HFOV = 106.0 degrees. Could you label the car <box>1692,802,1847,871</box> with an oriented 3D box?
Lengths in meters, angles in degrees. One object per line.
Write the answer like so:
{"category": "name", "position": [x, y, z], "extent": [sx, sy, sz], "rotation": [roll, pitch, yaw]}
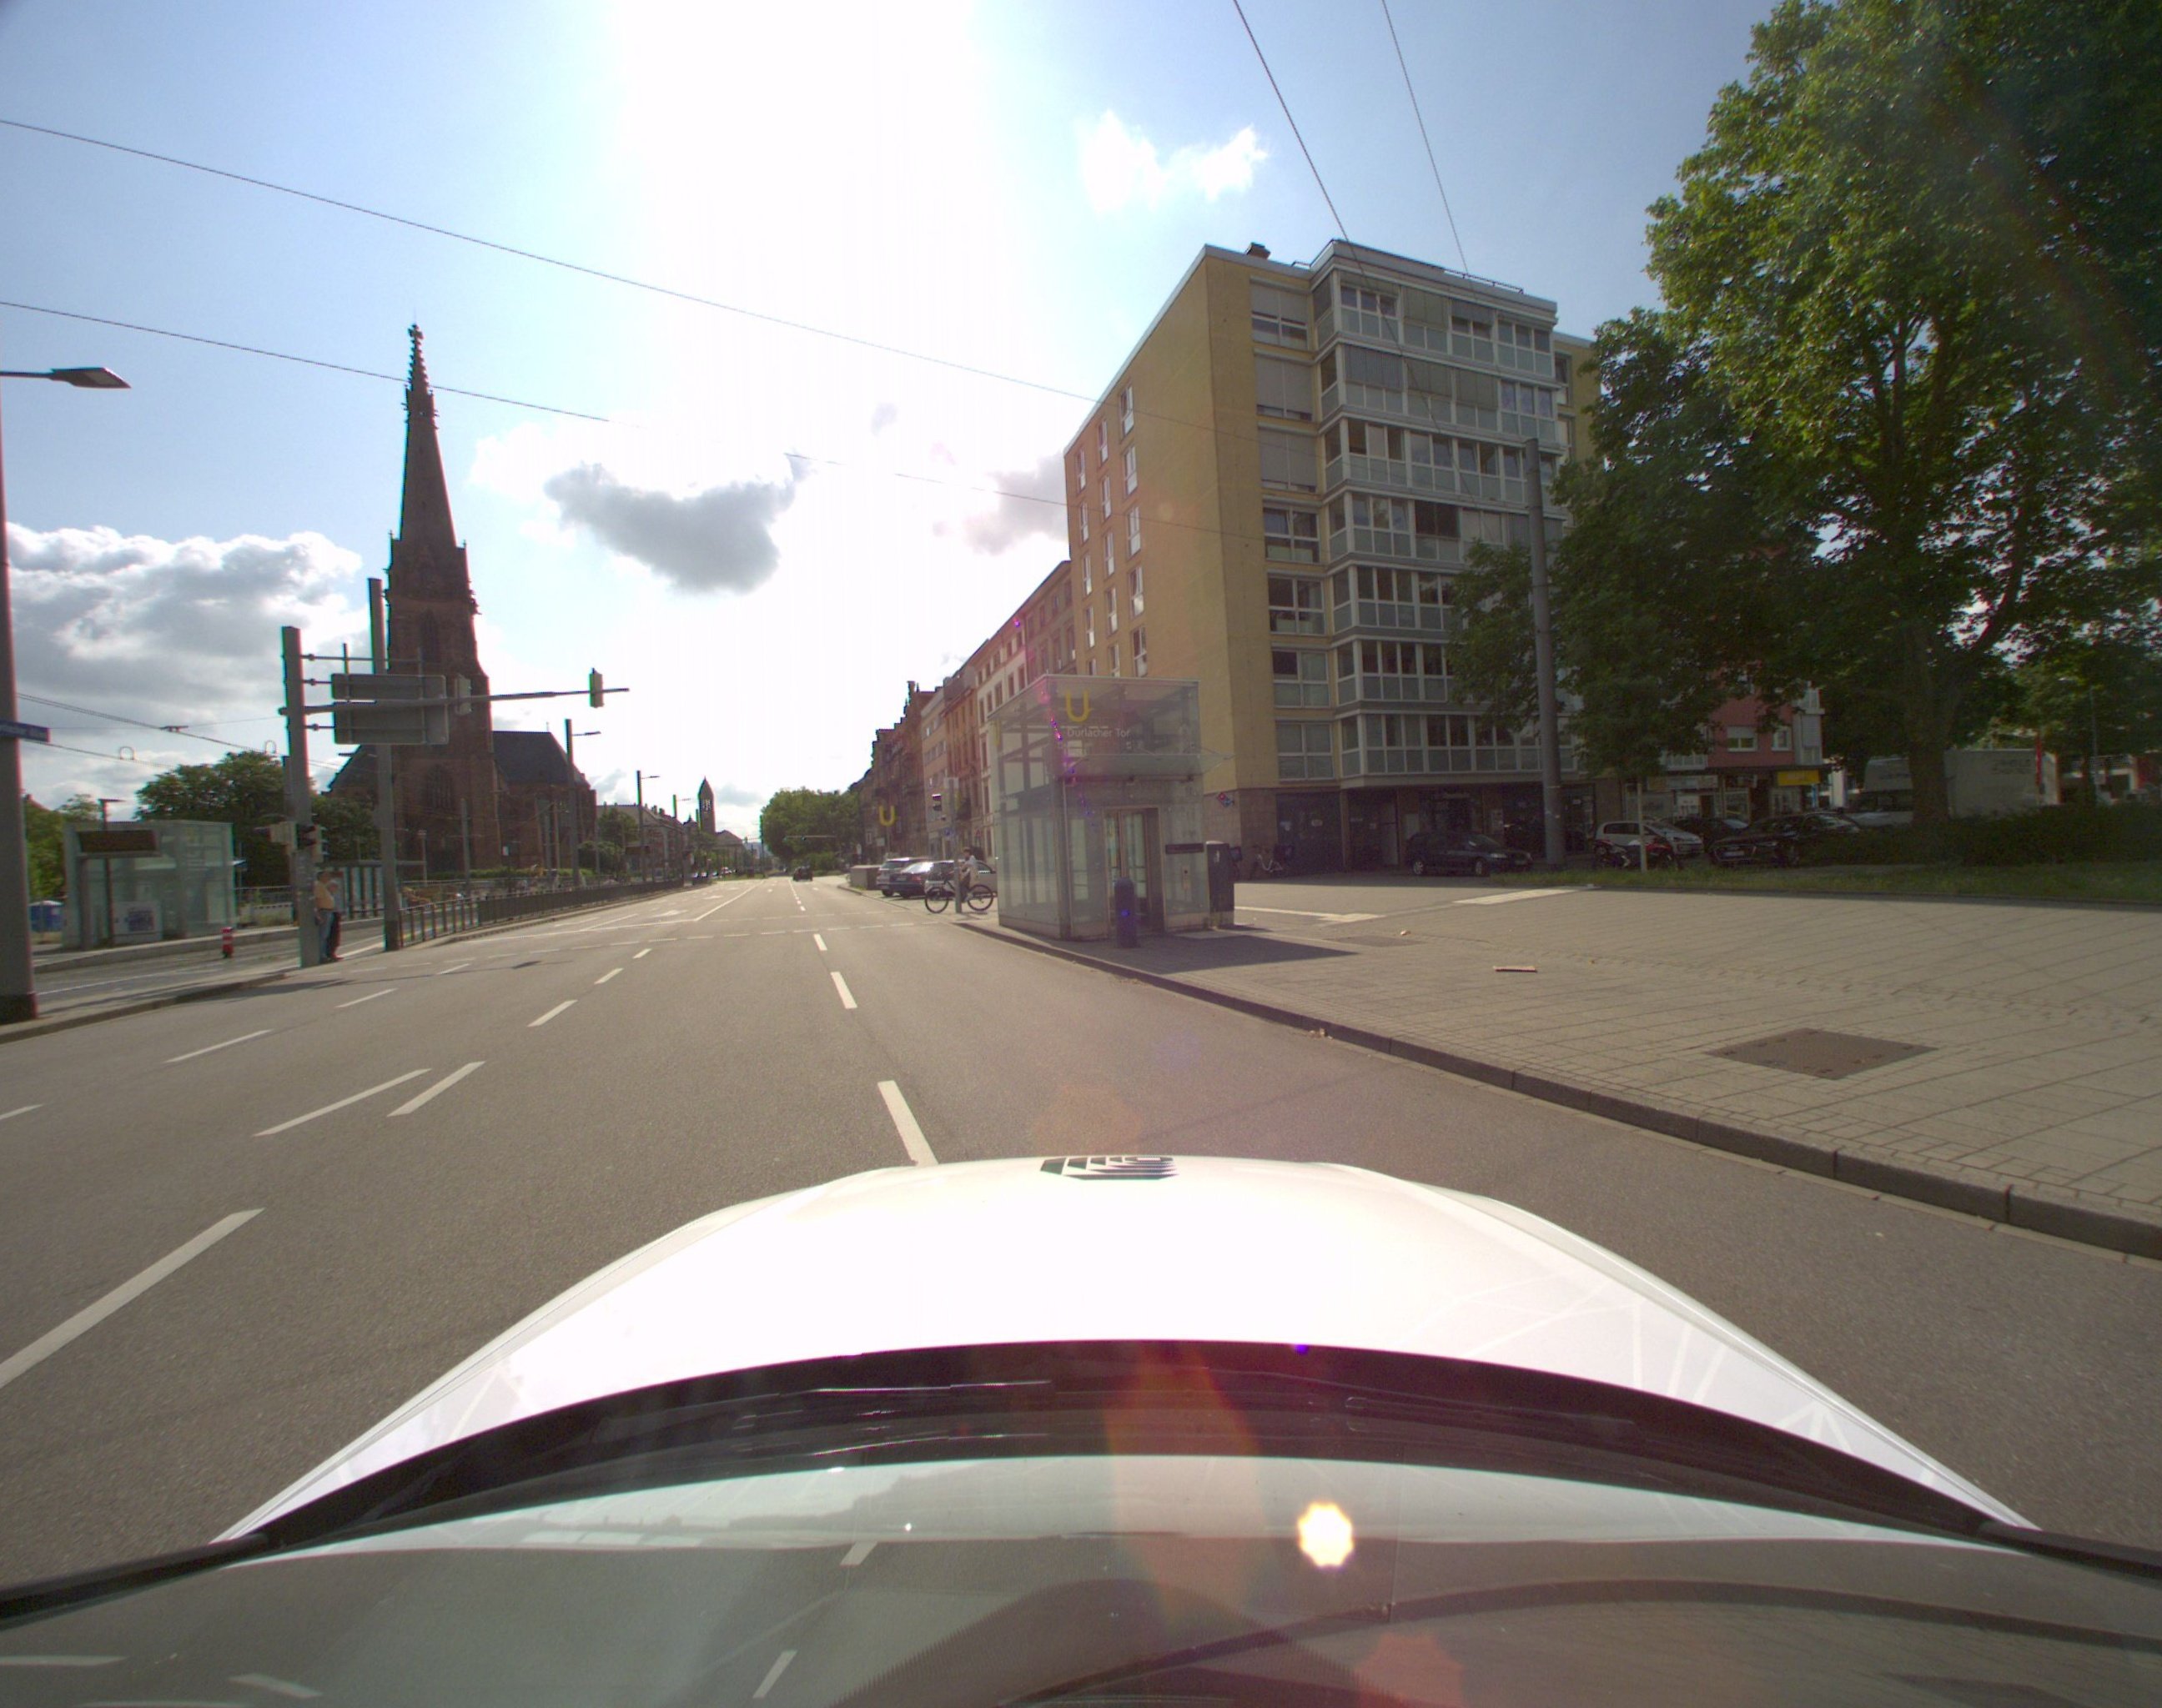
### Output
{"category": "car", "position": [19.540, -0.500, 23.102], "extent": [4.011, 1.705, 1.981], "rotation": [-4, 0, -29]}

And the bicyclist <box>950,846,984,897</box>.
{"category": "bicyclist", "position": [-3.107, 0.484, 22.221], "extent": [0.777, 1.335, 0.396], "rotation": [-2, 2, 6]}

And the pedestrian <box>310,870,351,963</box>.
{"category": "pedestrian", "position": [-16.816, 1.387, 18.251], "extent": [0.505, 2.013, 0.510], "rotation": [-3, 0, -32]}

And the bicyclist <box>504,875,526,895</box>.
{"category": "bicyclist", "position": [-50.071, 2.749, 72.045], "extent": [1.182, 1.683, 1.672], "rotation": [-4, 0, -22]}

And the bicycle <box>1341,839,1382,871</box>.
{"category": "bicycle", "position": [10.588, 0.035, 30.767], "extent": [1.346, 1.129, 0.590], "rotation": [-3, 2, -17]}

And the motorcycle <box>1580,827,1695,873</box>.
{"category": "motorcycle", "position": [13.975, -0.091, 20.542], "extent": [2.265, 1.030, 0.981], "rotation": [-3, -1, 28]}

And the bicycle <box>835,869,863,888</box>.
{"category": "bicycle", "position": [-17.752, 1.863, 62.309], "extent": [1.938, 1.237, 0.436], "rotation": [-4, 2, -34]}

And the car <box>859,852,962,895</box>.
{"category": "car", "position": [-7.680, 0.838, 37.183], "extent": [2.035, 1.647, 4.624], "rotation": [-3, 0, 27]}

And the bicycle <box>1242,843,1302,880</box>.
{"category": "bicycle", "position": [6.857, 0.249, 29.247], "extent": [2.198, 1.202, 0.474], "rotation": [-3, 2, -22]}

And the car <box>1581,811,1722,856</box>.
{"category": "car", "position": [21.471, -0.761, 30.856], "extent": [1.810, 1.514, 4.067], "rotation": [-3, 2, -21]}

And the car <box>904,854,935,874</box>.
{"category": "car", "position": [-17.282, 1.081, 87.001], "extent": [2.004, 1.862, 4.712], "rotation": [-4, -1, -26]}

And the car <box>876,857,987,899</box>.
{"category": "car", "position": [-6.070, 0.972, 33.693], "extent": [1.914, 1.460, 4.629], "rotation": [-3, 0, 30]}

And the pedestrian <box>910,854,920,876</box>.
{"category": "pedestrian", "position": [-16.329, 1.123, 80.231], "extent": [0.723, 2.099, 0.781], "rotation": [-3, 2, -20]}

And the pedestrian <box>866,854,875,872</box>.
{"category": "pedestrian", "position": [-23.415, 0.974, 90.458], "extent": [0.668, 1.903, 0.686], "rotation": [-4, 0, -39]}

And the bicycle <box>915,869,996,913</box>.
{"category": "bicycle", "position": [-3.416, 1.003, 22.296], "extent": [2.083, 1.106, 0.545], "rotation": [-2, -2, 6]}

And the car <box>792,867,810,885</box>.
{"category": "car", "position": [-31.808, 2.455, 92.351], "extent": [1.696, 1.711, 3.582], "rotation": [-3, 2, -22]}

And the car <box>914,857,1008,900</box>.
{"category": "car", "position": [-4.558, 0.897, 31.356], "extent": [1.756, 1.453, 3.518], "rotation": [-3, -1, 29]}

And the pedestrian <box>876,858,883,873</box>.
{"category": "pedestrian", "position": [-25.620, 1.462, 103.474], "extent": [0.666, 1.836, 0.688], "rotation": [-4, 0, -27]}

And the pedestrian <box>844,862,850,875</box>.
{"category": "pedestrian", "position": [-38.707, 2.426, 134.762], "extent": [0.770, 2.013, 0.710], "rotation": [-4, 0, -20]}

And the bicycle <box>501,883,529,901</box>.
{"category": "bicycle", "position": [-50.059, 3.381, 72.094], "extent": [1.198, 1.427, 3.666], "rotation": [-4, 0, -22]}

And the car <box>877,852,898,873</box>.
{"category": "car", "position": [-25.513, 1.109, 107.287], "extent": [2.001, 2.525, 5.848], "rotation": [-3, 0, -20]}

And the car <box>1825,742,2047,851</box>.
{"category": "car", "position": [26.705, -1.814, 25.402], "extent": [7.250, 3.042, 1.986], "rotation": [-3, 0, -20]}

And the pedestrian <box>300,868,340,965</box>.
{"category": "pedestrian", "position": [-16.291, 1.327, 17.449], "extent": [0.428, 2.013, 0.572], "rotation": [-3, 0, -32]}

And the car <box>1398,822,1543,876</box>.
{"category": "car", "position": [12.507, -0.127, 26.425], "extent": [1.810, 1.514, 4.066], "rotation": [-4, 0, -21]}
